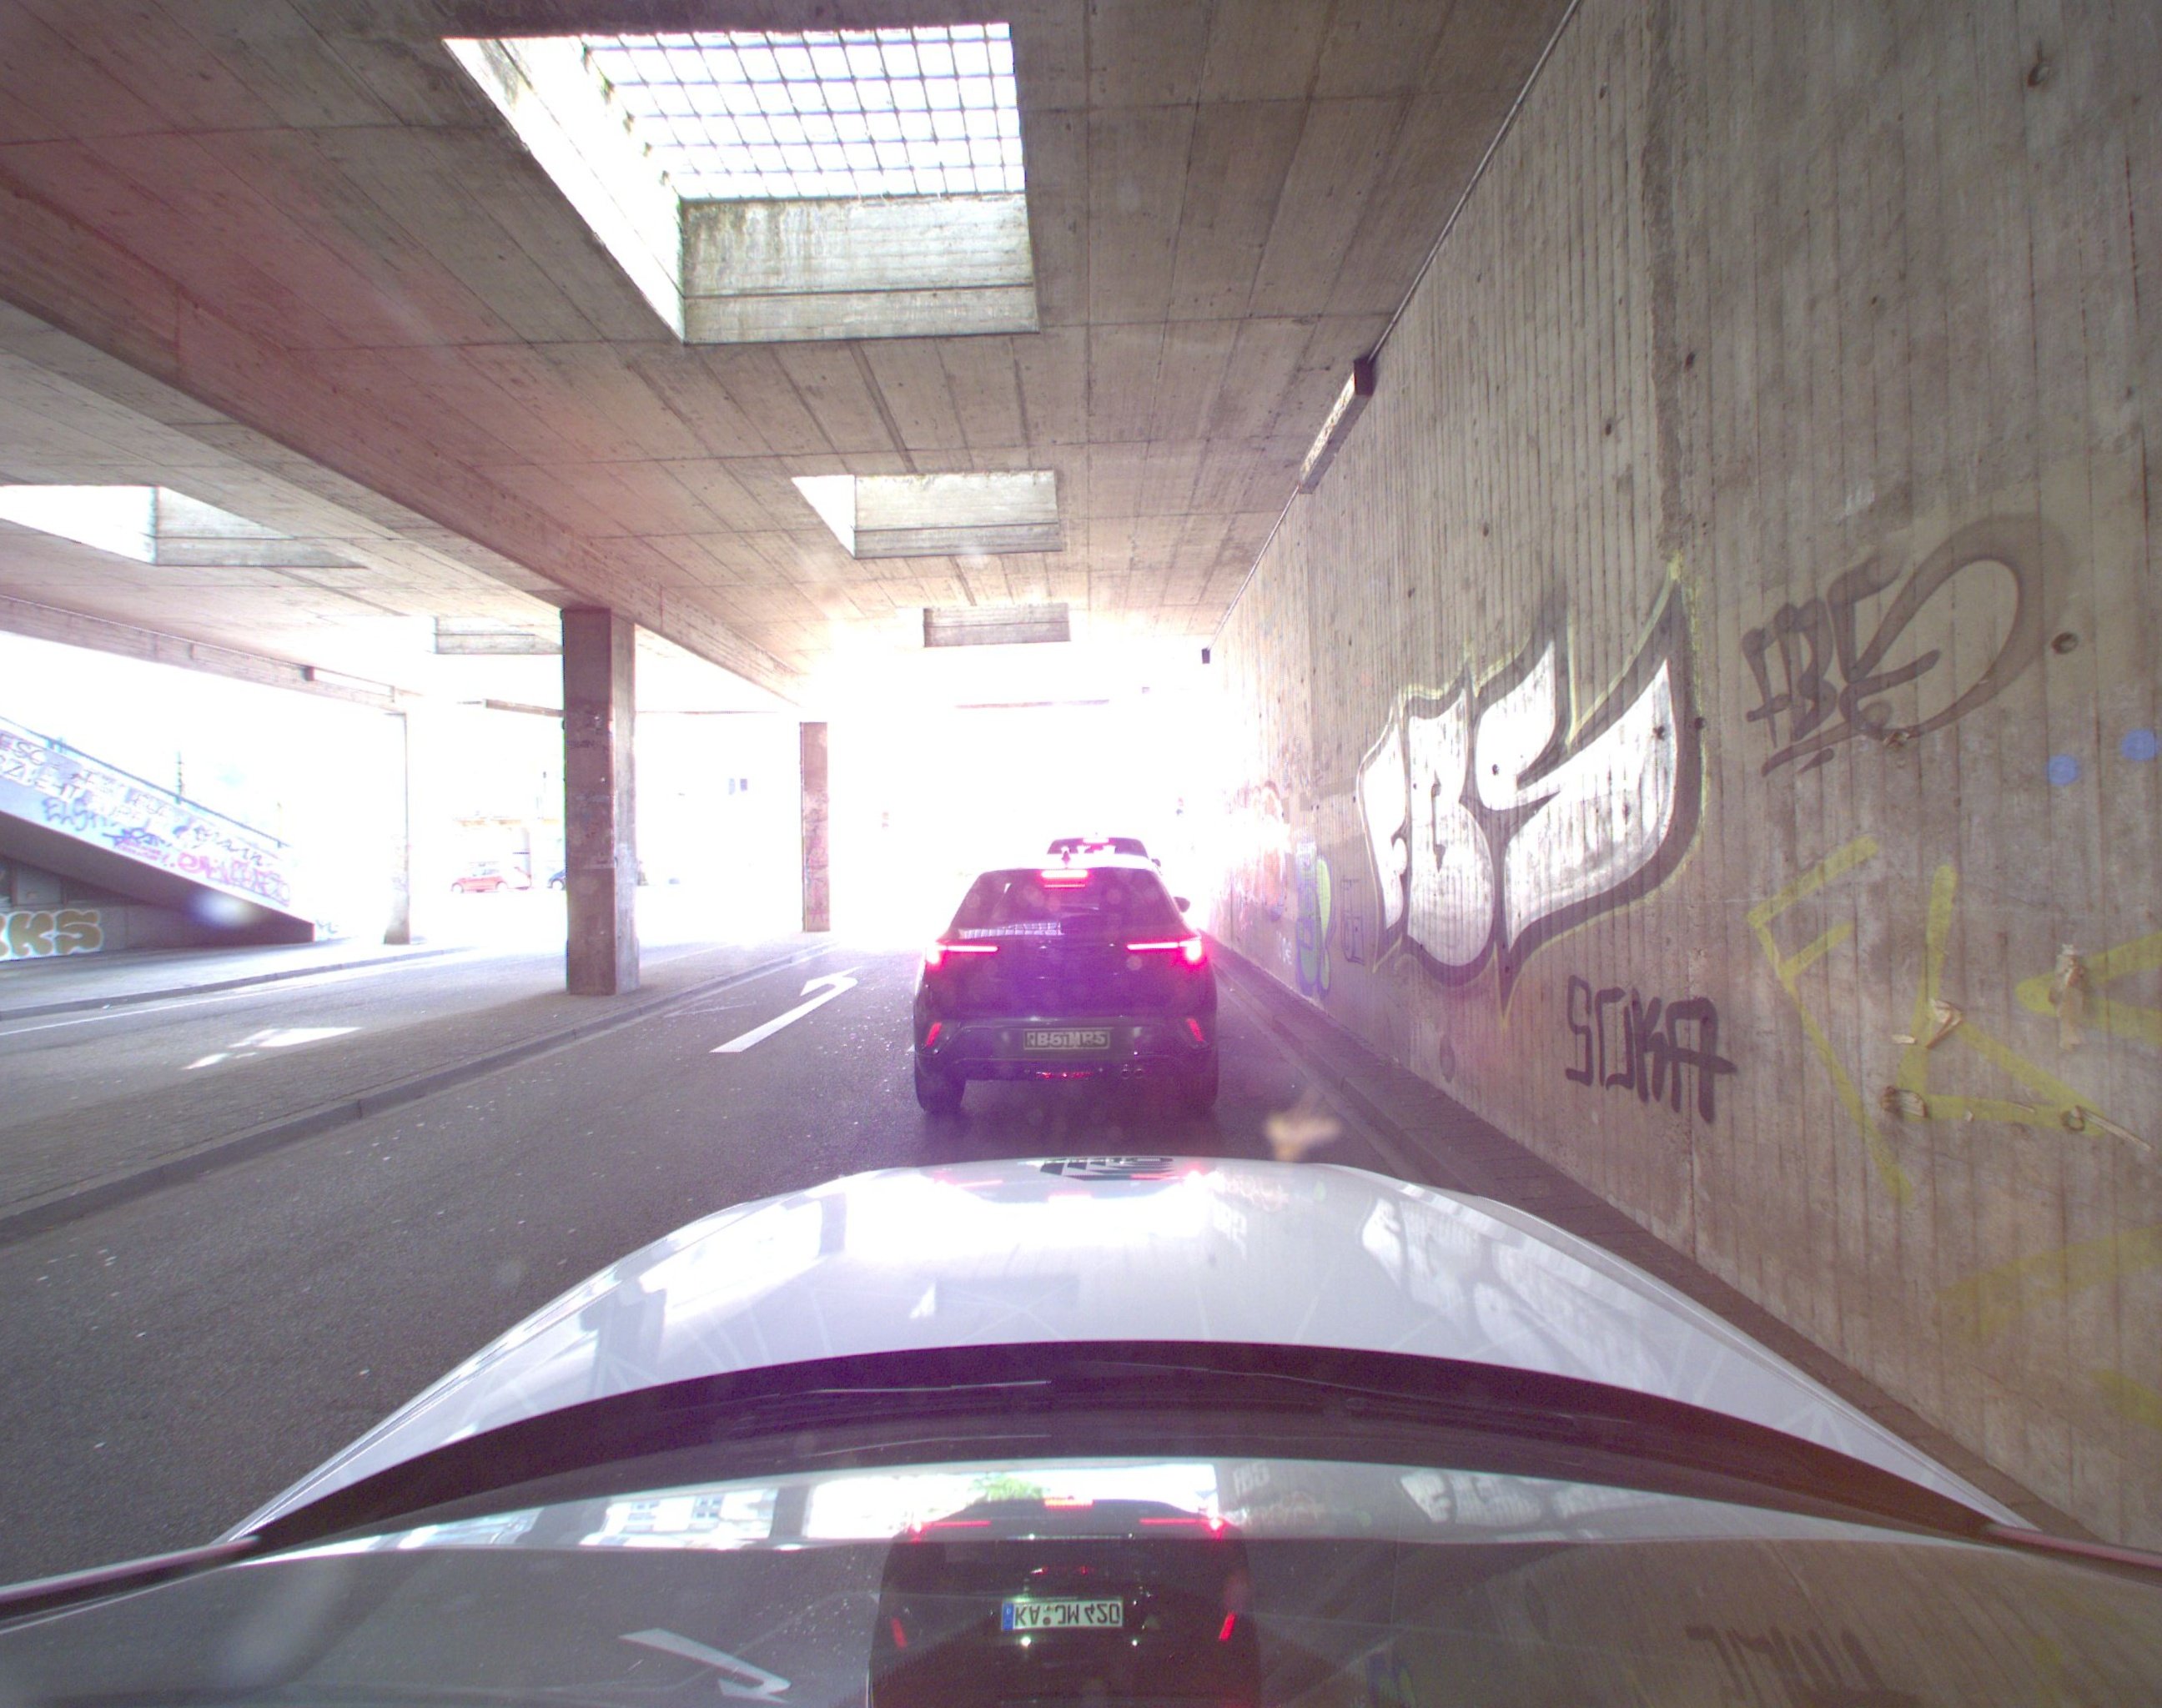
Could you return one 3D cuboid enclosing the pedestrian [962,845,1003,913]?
[{"bbox_3d":[-2.625,0.664,21.771,0.925,1.762,0.795,0,-1,3],"label":"pedestrian"}]

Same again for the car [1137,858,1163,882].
[{"bbox_3d":[5.802,1.308,68.433,1.983,1.970,4.172,0,-1,7],"label":"car"}]

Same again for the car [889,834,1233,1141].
[{"bbox_3d":[-0.038,0.654,6.188,1.758,1.571,4.002,0,1,2],"label":"car"}]

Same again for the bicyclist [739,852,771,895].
[{"bbox_3d":[-11.247,0.658,28.089,0.733,1.423,0.686,-3,-1,8],"label":"bicyclist"}]

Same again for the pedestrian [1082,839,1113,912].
[{"bbox_3d":[0.410,0.517,19.906,0.728,1.734,0.874,0,-1,1],"label":"pedestrian"}]

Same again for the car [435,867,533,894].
[{"bbox_3d":[-33.095,1.437,45.244,3.975,1.409,1.925,0,-1,-1],"label":"car"}]

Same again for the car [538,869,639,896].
[{"bbox_3d":[-27.333,1.581,45.272,4.393,1.409,1.925,0,-1,-1],"label":"car"}]

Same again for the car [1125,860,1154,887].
[{"bbox_3d":[4.513,1.438,62.353,1.983,1.970,4.172,0,-1,7],"label":"car"}]

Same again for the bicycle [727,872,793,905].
[{"bbox_3d":[-11.054,1.174,28.052,1.978,1.050,0.720,-2,-1,8],"label":"bicycle"}]

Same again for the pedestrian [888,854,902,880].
[{"bbox_3d":[-11.883,0.802,52.032,0.669,1.637,0.741,0,-1,1],"label":"pedestrian"}]

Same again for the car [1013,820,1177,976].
[{"bbox_3d":[0.234,0.543,12.086,1.986,1.871,4.002,-2,0,2],"label":"car"}]
